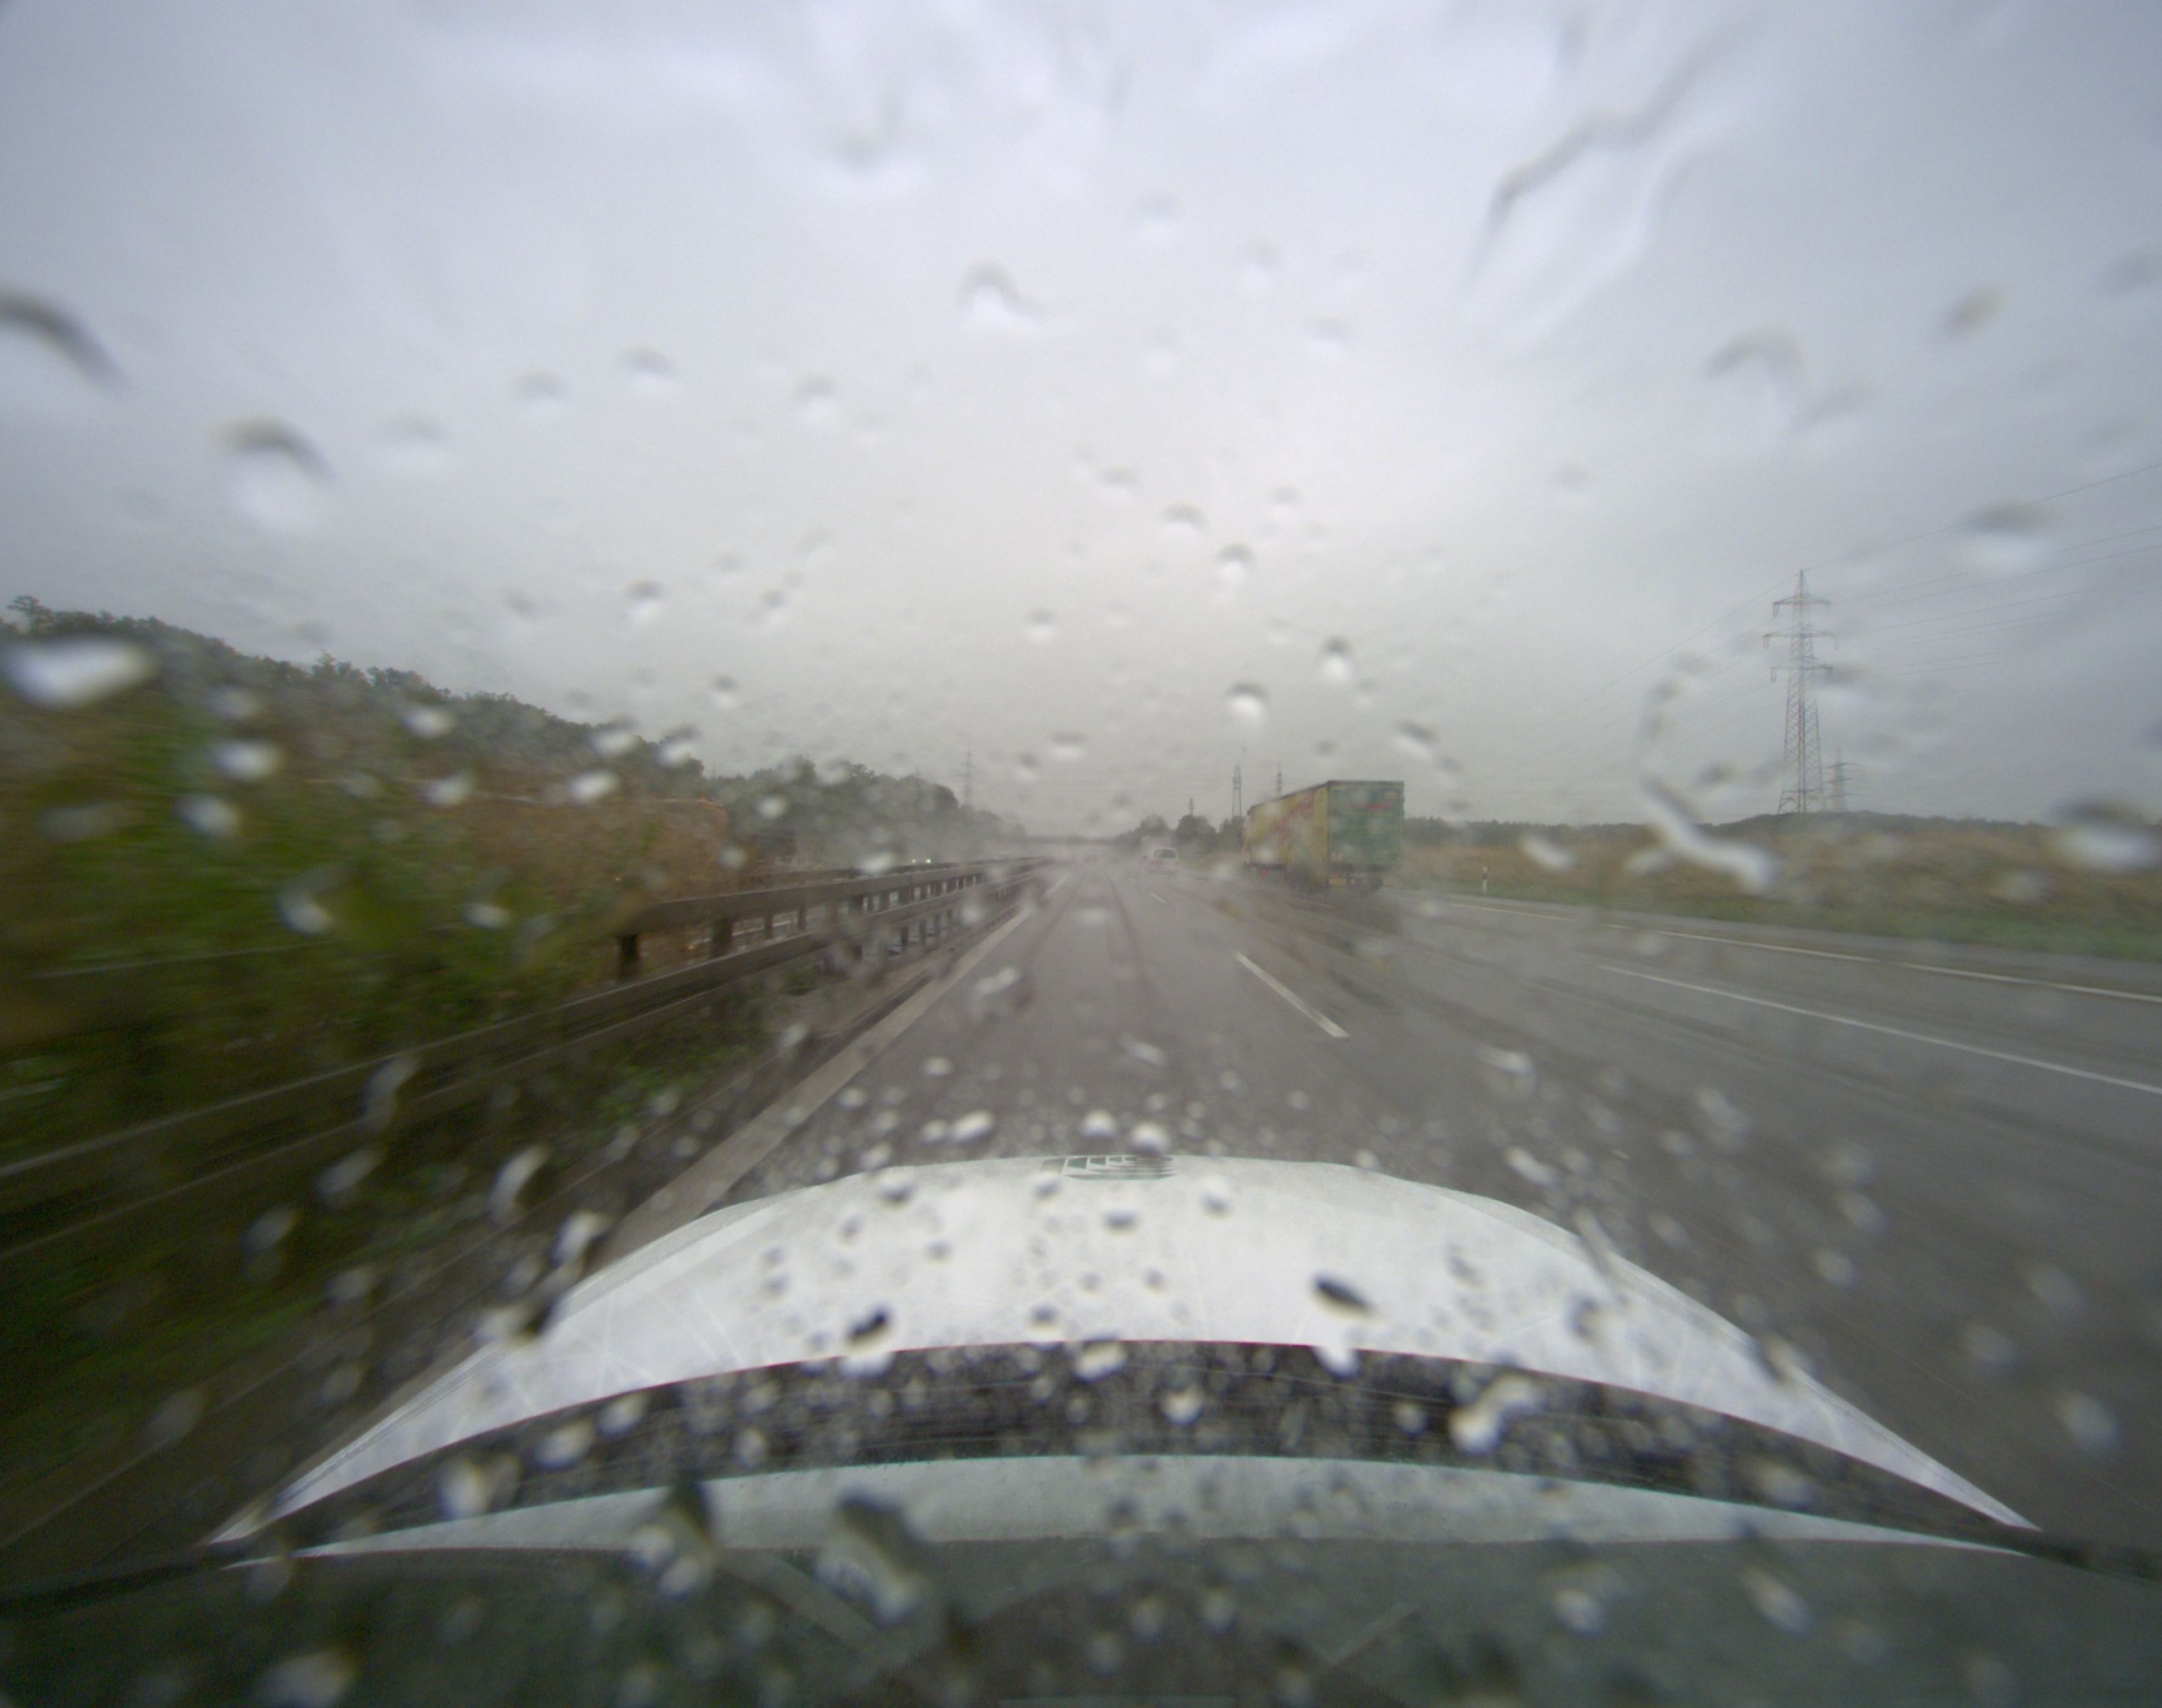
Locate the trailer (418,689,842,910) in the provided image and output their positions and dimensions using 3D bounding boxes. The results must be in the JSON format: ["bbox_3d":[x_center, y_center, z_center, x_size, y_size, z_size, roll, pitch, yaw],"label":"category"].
[{"bbox_3d":[-11.059,-1.113,23.406,3.517,4.301,14.686,-1,0,2],"label":"trailer"}]

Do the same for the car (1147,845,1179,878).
[{"bbox_3d":[5.335,0.450,52.926,1.984,2.013,4.006,-1,1,5],"label":"car"}]

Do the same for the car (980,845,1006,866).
[{"bbox_3d":[-8.952,0.140,83.378,1.985,2.013,4.003,0,0,3],"label":"car"}]

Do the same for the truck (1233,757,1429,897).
[{"bbox_3d":[9.880,-0.931,35.322,4.172,4.630,16.115,-1,0,2],"label":"truck"}]

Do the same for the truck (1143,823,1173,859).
[{"bbox_3d":[9.731,-1.669,103.898,3.220,4.311,8.843,-1,1,2],"label":"truck"}]

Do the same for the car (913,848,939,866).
[{"bbox_3d":[-15.401,0.277,81.008,1.617,1.573,4.004,0,2,3],"label":"car"}]
